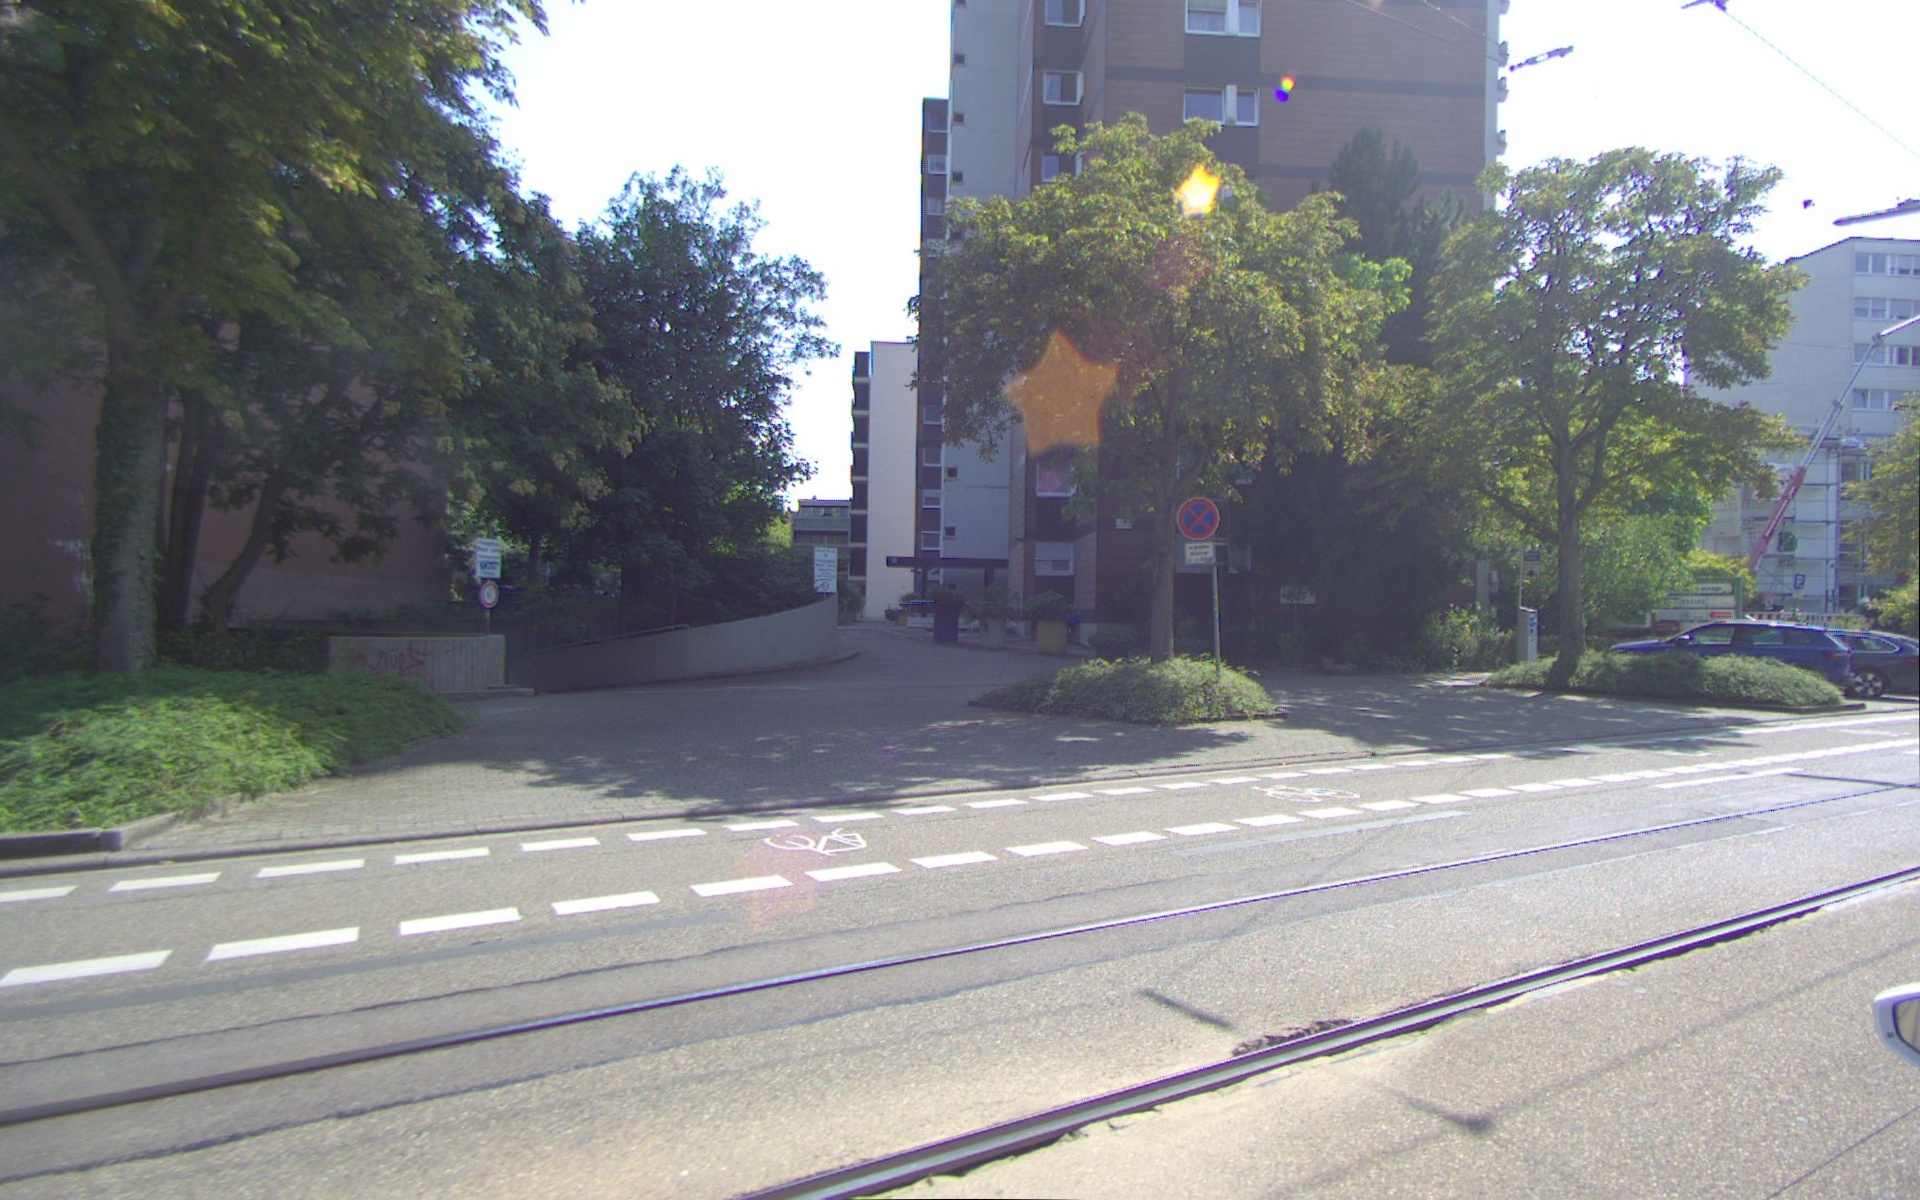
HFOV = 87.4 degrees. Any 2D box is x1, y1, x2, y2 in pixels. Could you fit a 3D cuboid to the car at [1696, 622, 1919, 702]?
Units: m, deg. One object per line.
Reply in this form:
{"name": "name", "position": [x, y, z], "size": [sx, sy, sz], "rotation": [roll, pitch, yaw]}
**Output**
{"name": "car", "position": [19.465, 1.368, 23.158], "size": [3.933, 1.591, 1.775], "rotation": [1, 0, 34]}

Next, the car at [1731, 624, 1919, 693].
{"name": "car", "position": [22.060, 1.427, 25.186], "size": [4.225, 1.517, 1.775], "rotation": [1, 0, 35]}

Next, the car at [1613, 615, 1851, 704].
{"name": "car", "position": [16.674, 1.214, 21.886], "size": [3.937, 1.670, 1.834], "rotation": [1, 0, 38]}
